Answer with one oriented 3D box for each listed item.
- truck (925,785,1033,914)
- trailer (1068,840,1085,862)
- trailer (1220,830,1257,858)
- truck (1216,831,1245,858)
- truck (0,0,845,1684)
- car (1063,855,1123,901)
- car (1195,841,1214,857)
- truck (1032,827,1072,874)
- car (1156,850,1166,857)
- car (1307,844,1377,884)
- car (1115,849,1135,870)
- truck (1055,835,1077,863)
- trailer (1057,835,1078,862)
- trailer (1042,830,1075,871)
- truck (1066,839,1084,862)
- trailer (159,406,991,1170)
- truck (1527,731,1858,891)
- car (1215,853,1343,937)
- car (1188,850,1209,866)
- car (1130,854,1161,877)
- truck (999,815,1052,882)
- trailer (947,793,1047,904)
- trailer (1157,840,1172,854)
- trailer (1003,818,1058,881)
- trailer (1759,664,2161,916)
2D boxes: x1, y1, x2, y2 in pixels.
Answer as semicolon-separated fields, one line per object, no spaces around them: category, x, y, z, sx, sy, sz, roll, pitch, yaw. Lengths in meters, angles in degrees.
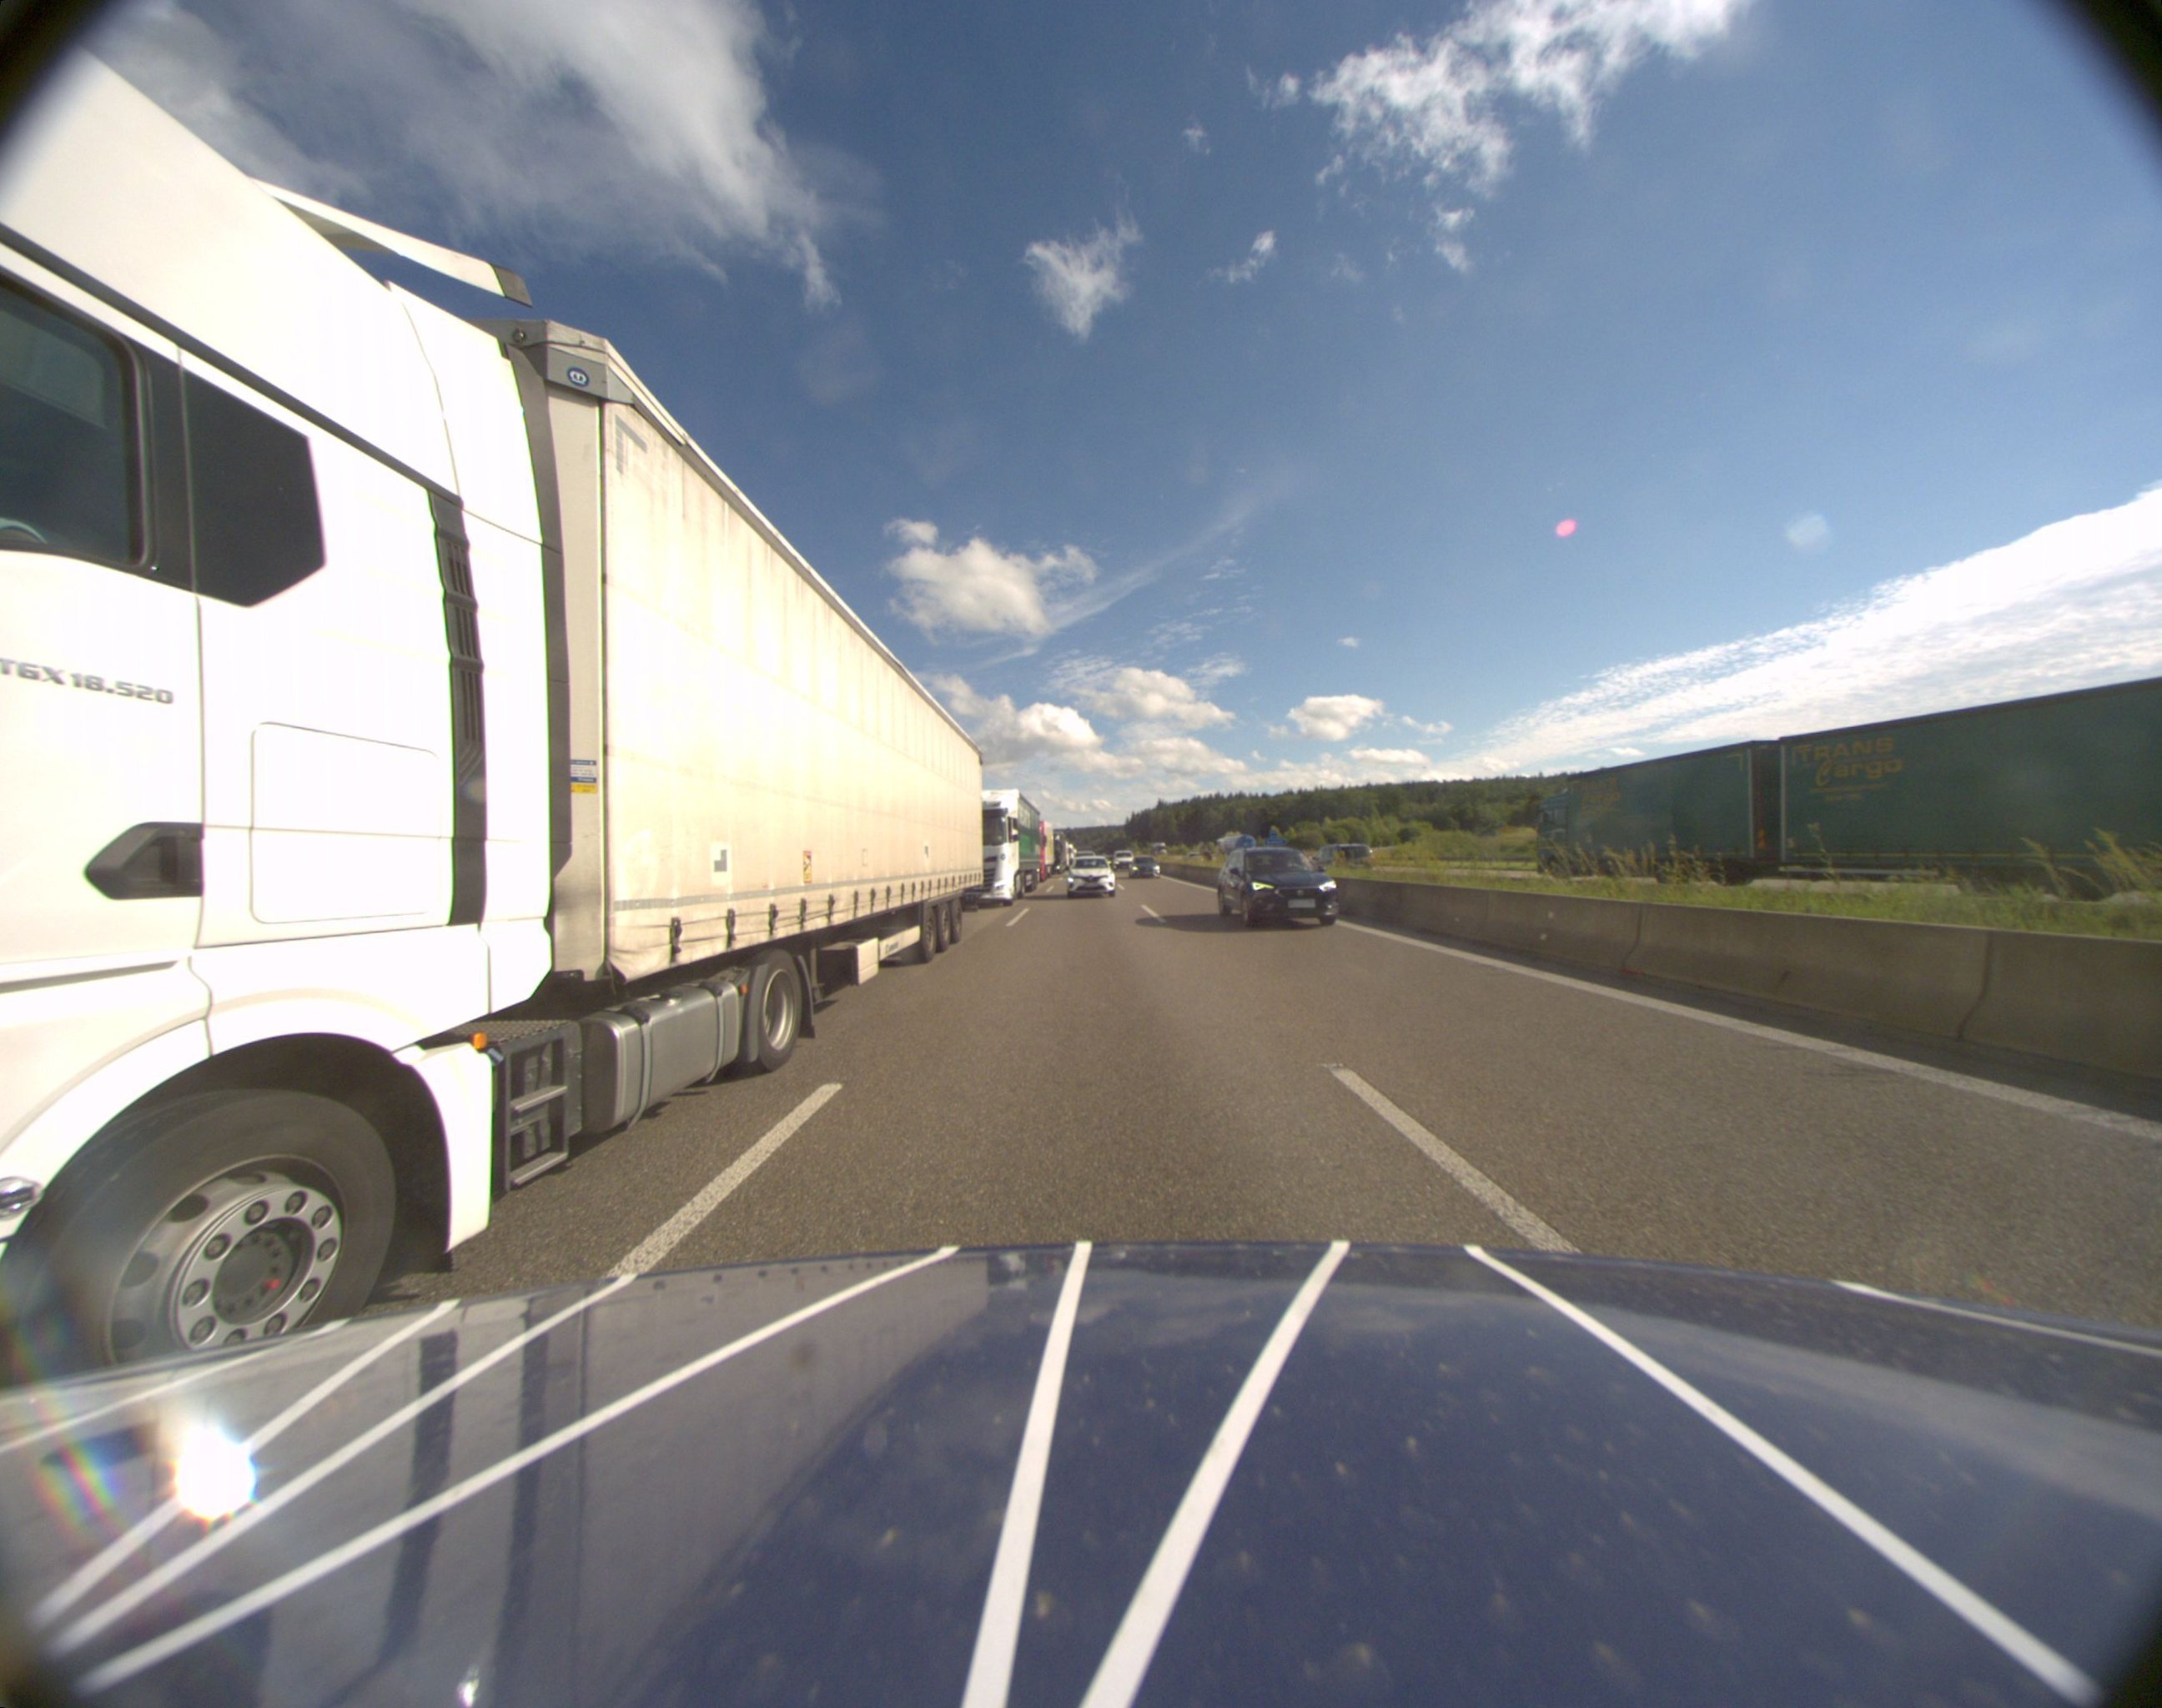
truck;-3.358;-0.165;26.827;2.653;3.846;6.995;-2;1;1
trailer;-0.875;-0.660;148.996;2.652;3.911;11.175;-5;0;2
trailer;19.595;-1.157;95.158;2.327;3.265;10.874;-2;0;0
truck;19.549;-1.290;99.615;2.323;3.255;6.104;-5;1;0
truck;-3.550;-0.343;3.572;2.715;4.036;6.361;-1;1;1
car;0.518;0.847;29.397;2.026;1.511;5.299;-3;0;2
car;15.849;-0.589;97.706;1.764;1.871;3.999;-5;1;1
truck;-2.645;-0.342;73.177;2.747;4.015;10.202;-5;1;2
car;15.937;-0.051;151.405;1.694;1.274;3.708;-5;1;1
car;11.720;0.403;34.359;1.673;1.573;3.999;-5;1;0
car;4.229;0.524;73.713;1.779;1.923;4.214;-2;0;1
truck;-2.247;-0.827;117.605;2.654;4.066;6.491;-5;1;2
trailer;-2.072;-0.944;124.878;2.648;4.074;13.979;-5;1;1
trailer;-2.310;-0.357;82.577;2.722;3.937;8.712;-5;0;2
truck;-1.094;-0.593;142.191;2.655;3.902;6.942;-5;0;2
trailer;-3.489;-0.361;10.572;2.709;4.058;12.943;-1;0;1
truck;19.439;-1.203;25.538;2.718;4.219;10.342;-2;1;0
car;4.180;0.789;16.699;1.779;1.533;4.158;-2;1;1
car;13.051;0.398;84.224;1.675;1.615;3.766;-5;1;1
car;4.344;0.743;51.606;1.779;1.451;4.158;-2;1;1
truck;-3.479;-0.346;49.073;2.809;3.916;5.825;-3;1;0
trailer;-3.301;-0.259;33.824;2.668;3.846;13.393;-2;1;1
trailer;21.020;-1.805;191.919;2.806;3.508;8.953;-2;1;1
trailer;-3.422;-0.343;54.982;2.799;3.916;13.068;-3;1;0
trailer;19.467;-1.134;15.972;2.732;4.219;8.551;-2;1;0
